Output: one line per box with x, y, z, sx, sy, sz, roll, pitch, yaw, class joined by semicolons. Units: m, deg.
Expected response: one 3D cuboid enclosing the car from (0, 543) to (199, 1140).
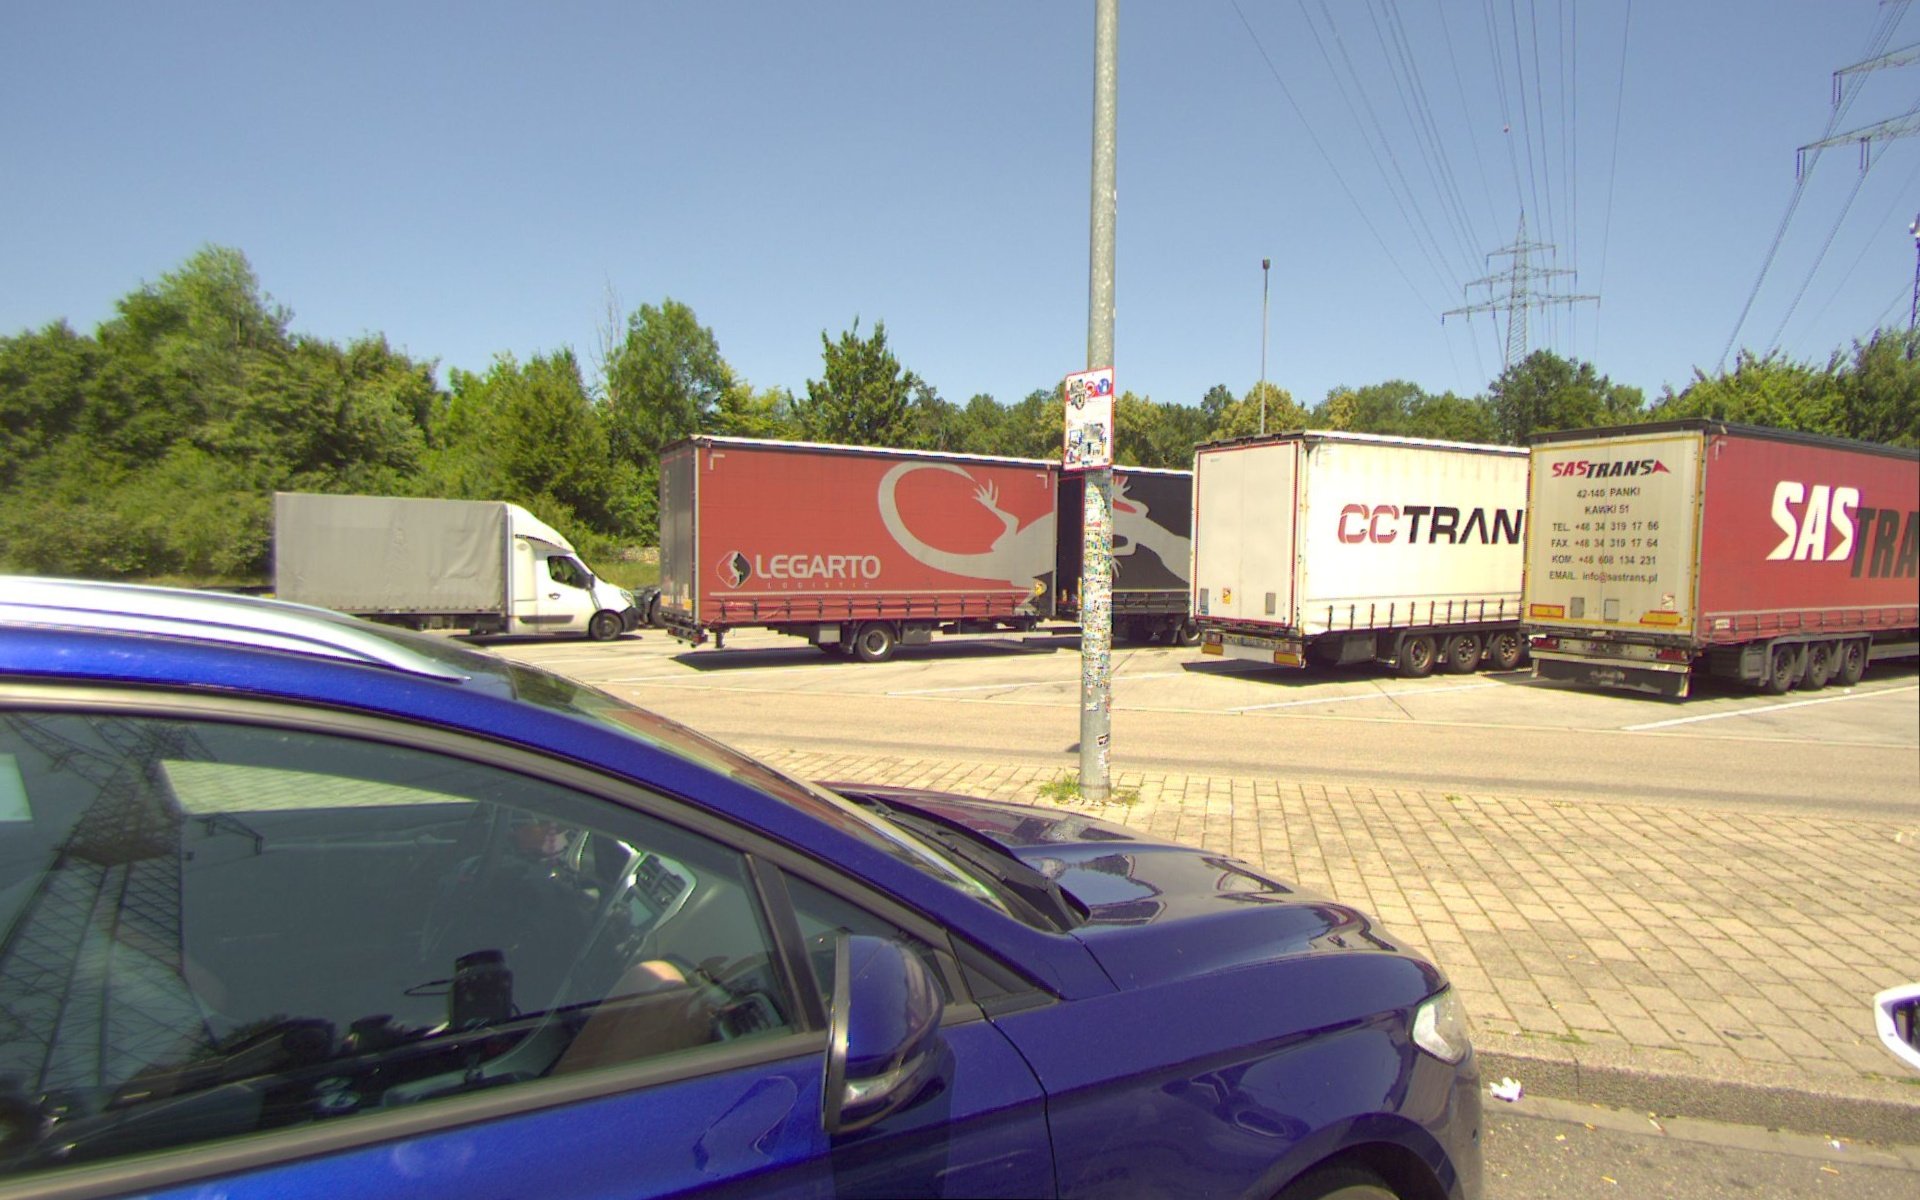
-4.596;0.603;2.227;4.444;1.520;1.762;0;2;-32;car

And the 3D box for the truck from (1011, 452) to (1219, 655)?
3.583;-1.068;23.452;3.947;4.298;2.723;-1;3;-30;truck

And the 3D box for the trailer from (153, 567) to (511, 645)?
-15.151;0.057;24.893;7.204;1.711;2.249;-1;3;-29;trailer

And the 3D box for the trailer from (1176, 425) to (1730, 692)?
10.600;-0.802;20.340;13.962;4.141;2.782;-1;3;-30;trailer

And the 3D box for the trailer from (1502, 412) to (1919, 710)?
15.620;-0.695;18.729;13.962;4.141;2.777;-1;3;-30;trailer

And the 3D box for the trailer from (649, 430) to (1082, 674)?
-1.730;-0.901;20.330;8.376;4.141;2.722;-1;3;-30;trailer

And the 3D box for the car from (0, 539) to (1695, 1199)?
-1.019;0.680;1.495;4.444;1.511;1.859;0;2;-32;car

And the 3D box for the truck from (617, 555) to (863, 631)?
-6.335;-0.231;29.275;6.733;2.041;1.987;-1;1;-26;truck

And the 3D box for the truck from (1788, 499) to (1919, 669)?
21.222;-0.397;22.008;5.829;3.373;2.837;-1;3;-30;truck

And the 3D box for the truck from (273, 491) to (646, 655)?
-11.176;-0.624;23.024;7.204;3.279;2.727;-1;3;-29;truck
